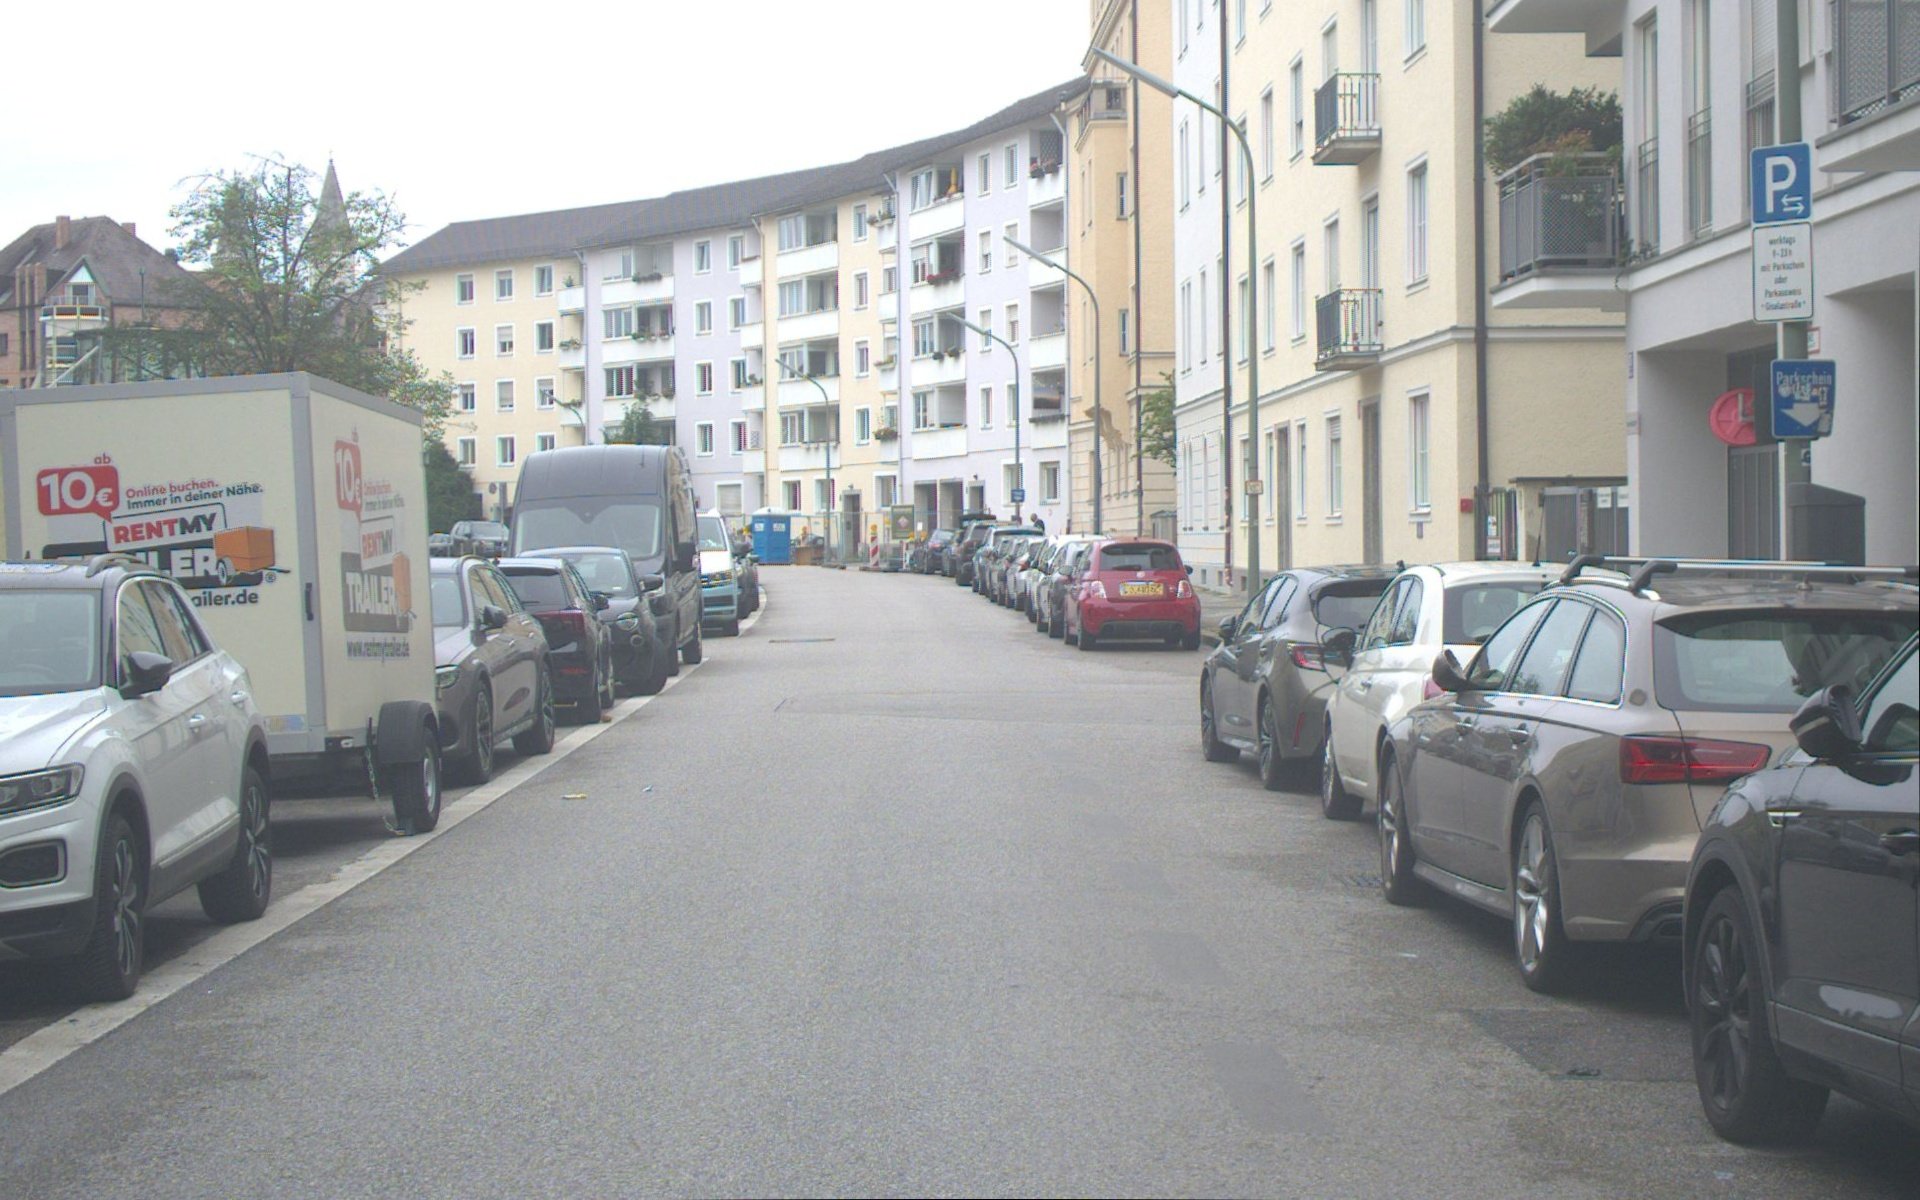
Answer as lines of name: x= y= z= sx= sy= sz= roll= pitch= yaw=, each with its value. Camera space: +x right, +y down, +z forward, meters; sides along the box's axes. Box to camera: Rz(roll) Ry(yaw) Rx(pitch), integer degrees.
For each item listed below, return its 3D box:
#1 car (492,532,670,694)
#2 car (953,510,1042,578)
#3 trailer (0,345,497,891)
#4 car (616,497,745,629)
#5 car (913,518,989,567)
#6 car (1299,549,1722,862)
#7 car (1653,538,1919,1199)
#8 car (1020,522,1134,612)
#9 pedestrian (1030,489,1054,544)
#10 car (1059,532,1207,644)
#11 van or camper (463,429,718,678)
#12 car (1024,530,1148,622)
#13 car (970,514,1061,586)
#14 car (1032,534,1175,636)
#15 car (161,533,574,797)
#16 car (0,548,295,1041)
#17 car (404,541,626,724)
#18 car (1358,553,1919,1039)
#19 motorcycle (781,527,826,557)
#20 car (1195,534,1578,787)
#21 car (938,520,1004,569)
car: x=-3.861 y=0.089 z=35.500 sx=1.652 sy=1.492 sz=3.910 roll=-2 pitch=2 yaw=-5
car: x=0.982 y=-1.539 z=92.914 sx=2.169 sy=1.733 sz=5.025 roll=1 pitch=2 yaw=-2
trailer: x=-3.915 y=0.051 z=18.287 sx=1.976 sy=2.463 sz=4.576 roll=-3 pitch=1 yaw=2
car: x=-4.356 y=-0.622 z=53.514 sx=1.914 sy=1.953 sz=4.963 roll=0 pitch=2 yaw=-5
car: x=-0.305 y=-1.849 z=109.364 sx=1.908 sy=1.472 sz=4.947 roll=0 pitch=2 yaw=-6
car: x=2.868 y=0.489 z=18.629 sx=1.617 sy=1.462 sz=3.747 roll=1 pitch=2 yaw=-1
car: x=2.902 y=0.656 z=7.506 sx=1.837 sy=1.527 sz=4.022 roll=1 pitch=1 yaw=-2
car: x=2.095 y=-0.631 z=62.546 sx=1.650 sy=1.538 sz=3.994 roll=0 pitch=2 yaw=-4
pedestrian: x=2.574 y=-2.615 z=107.834 sx=0.617 sy=1.684 sz=0.919 roll=-4 pitch=1 yaw=-2
car: x=2.333 y=-0.197 z=47.072 sx=1.654 sy=1.425 sz=3.757 roll=1 pitch=2 yaw=-3
van or camper: x=-4.247 y=-0.581 z=40.515 sx=2.293 sy=2.641 sz=5.561 roll=-2 pitch=1 yaw=0
car: x=2.070 y=-0.428 z=57.619 sx=1.724 sy=1.425 sz=4.294 roll=1 pitch=2 yaw=-3
car: x=1.309 y=-1.230 z=82.658 sx=1.846 sy=1.658 sz=4.499 roll=0 pitch=2 yaw=-3
car: x=2.118 y=-0.262 z=52.048 sx=1.773 sy=1.425 sz=4.616 roll=1 pitch=2 yaw=-2
car: x=-3.983 y=0.357 z=23.995 sx=1.863 sy=1.536 sz=5.092 roll=-2 pitch=2 yaw=1
car: x=-3.743 y=0.616 z=13.101 sx=1.679 sy=1.525 sz=4.107 roll=-2 pitch=2 yaw=-1
car: x=-3.926 y=0.236 z=30.900 sx=1.675 sy=1.431 sz=4.287 roll=-2 pitch=2 yaw=-4
car: x=2.740 y=0.587 z=13.128 sx=1.791 sy=1.477 sz=4.604 roll=0 pitch=1 yaw=-1
motorcycle: x=-6.446 y=-2.399 z=141.507 sx=0.931 sy=1.217 sz=2.507 roll=-1 pitch=1 yaw=-26
car: x=2.707 y=0.323 z=22.747 sx=1.771 sy=1.470 sz=4.218 roll=0 pitch=2 yaw=-3
car: x=0.306 y=-1.676 z=103.112 sx=1.630 sy=1.412 sz=3.680 roll=0 pitch=2 yaw=-5
